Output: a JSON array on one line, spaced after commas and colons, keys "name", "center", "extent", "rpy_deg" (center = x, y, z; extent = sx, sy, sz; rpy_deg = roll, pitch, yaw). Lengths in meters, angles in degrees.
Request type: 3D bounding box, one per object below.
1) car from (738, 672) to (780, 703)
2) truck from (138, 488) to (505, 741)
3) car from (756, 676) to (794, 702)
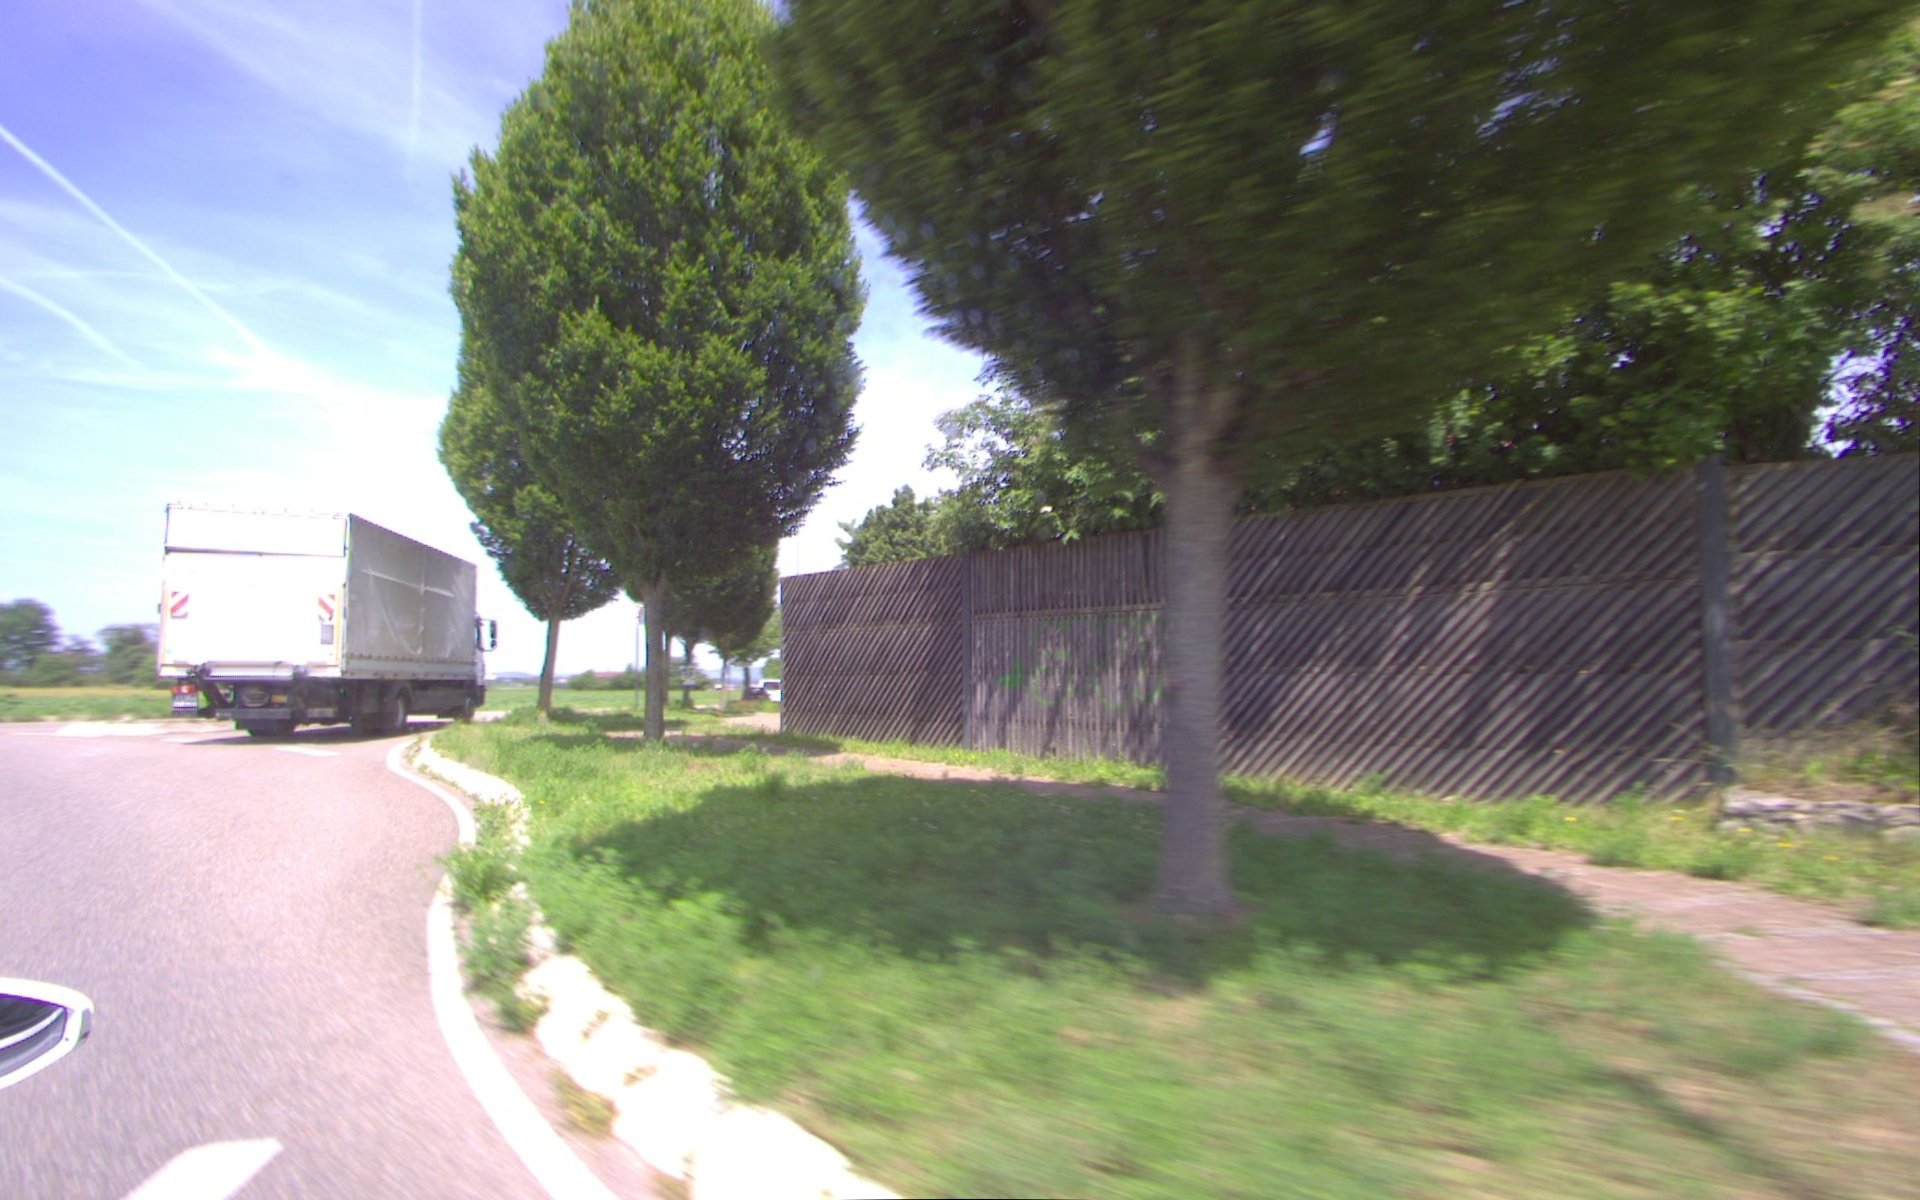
[{"name": "car", "center": [-12.739, 5.534, 63.715], "extent": [1.961, 1.815, 4.004], "rpy_deg": [1, -3, -2]}, {"name": "truck", "center": [-11.670, 0.569, 19.725], "extent": [2.725, 3.714, 9.384], "rpy_deg": [2, -4, -11]}, {"name": "car", "center": [-12.860, 6.187, 69.657], "extent": [1.961, 1.737, 4.006], "rpy_deg": [0, -5, -1]}]
